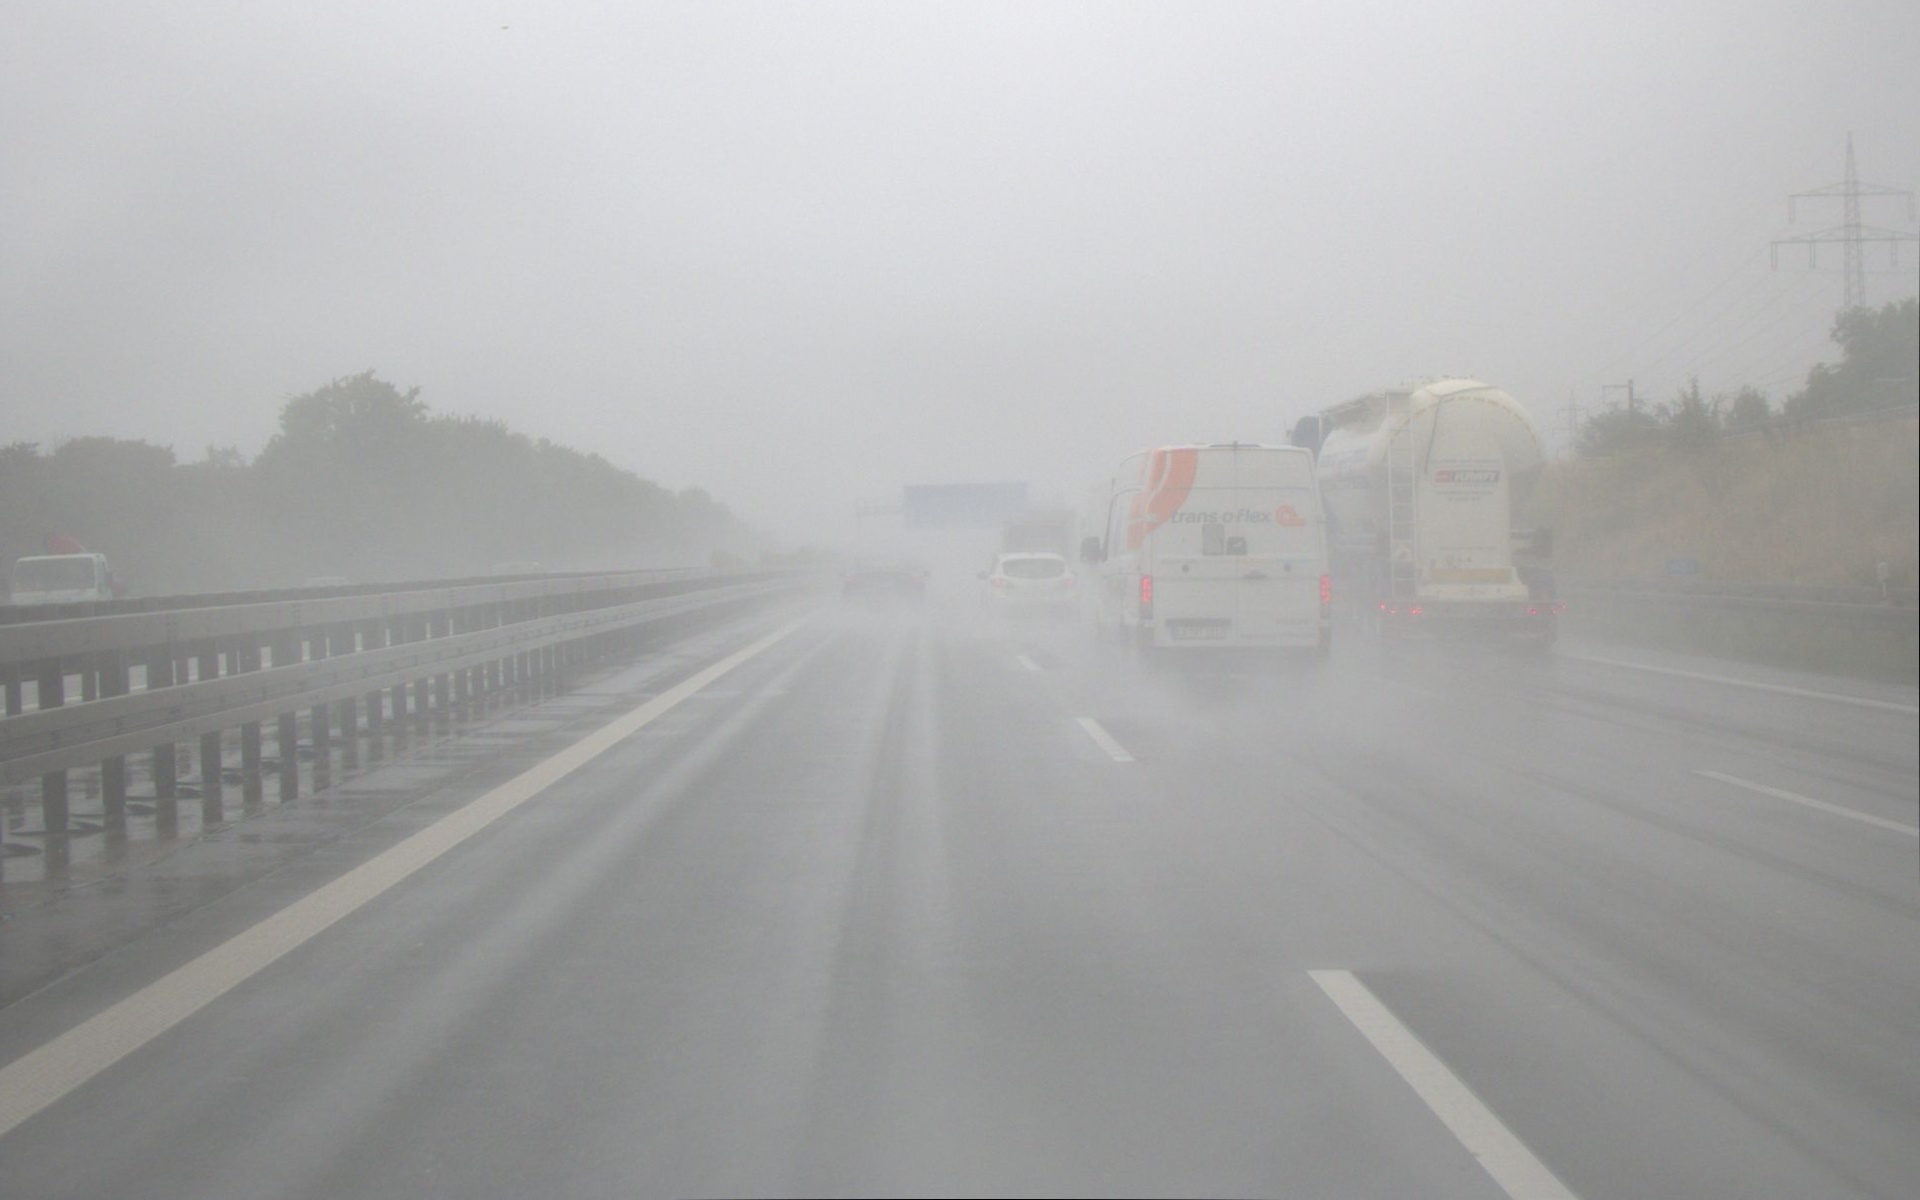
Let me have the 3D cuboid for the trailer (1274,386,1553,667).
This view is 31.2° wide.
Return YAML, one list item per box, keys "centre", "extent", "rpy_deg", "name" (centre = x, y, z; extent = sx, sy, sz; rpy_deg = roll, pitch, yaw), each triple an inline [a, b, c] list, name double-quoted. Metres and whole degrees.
- centre: [6.793, -1.092, 53.161]
  extent: [2.497, 3.869, 11.067]
  rpy_deg: [1, 1, -2]
  name: "trailer"

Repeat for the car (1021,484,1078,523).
- centre: [4.802, -5.158, 184.609]
  extent: [2.788, 2.007, 4.993]
  rpy_deg: [1, 1, -1]
  name: "car"

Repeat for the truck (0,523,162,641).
- centre: [-20.329, -0.439, 79.706]
  extent: [2.327, 2.610, 6.264]
  rpy_deg: [1, 1, -1]
  name: "truck"

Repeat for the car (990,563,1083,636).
- centre: [1.448, -0.020, 66.046]
  extent: [1.605, 1.333, 3.848]
  rpy_deg: [1, 1, -1]
  name: "car"

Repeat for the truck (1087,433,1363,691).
- centre: [2.683, -0.408, 36.283]
  extent: [2.419, 2.484, 5.560]
  rpy_deg: [1, 1, 0]
  name: "truck"

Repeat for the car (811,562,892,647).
- centre: [-2.394, 0.074, 76.428]
  extent: [1.702, 1.812, 3.862]
  rpy_deg: [1, 1, 0]
  name: "car"

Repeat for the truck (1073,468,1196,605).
- centre: [6.173, -2.141, 124.334]
  extent: [3.039, 4.572, 16.351]
  rpy_deg: [1, 0, -2]
  name: "truck"
